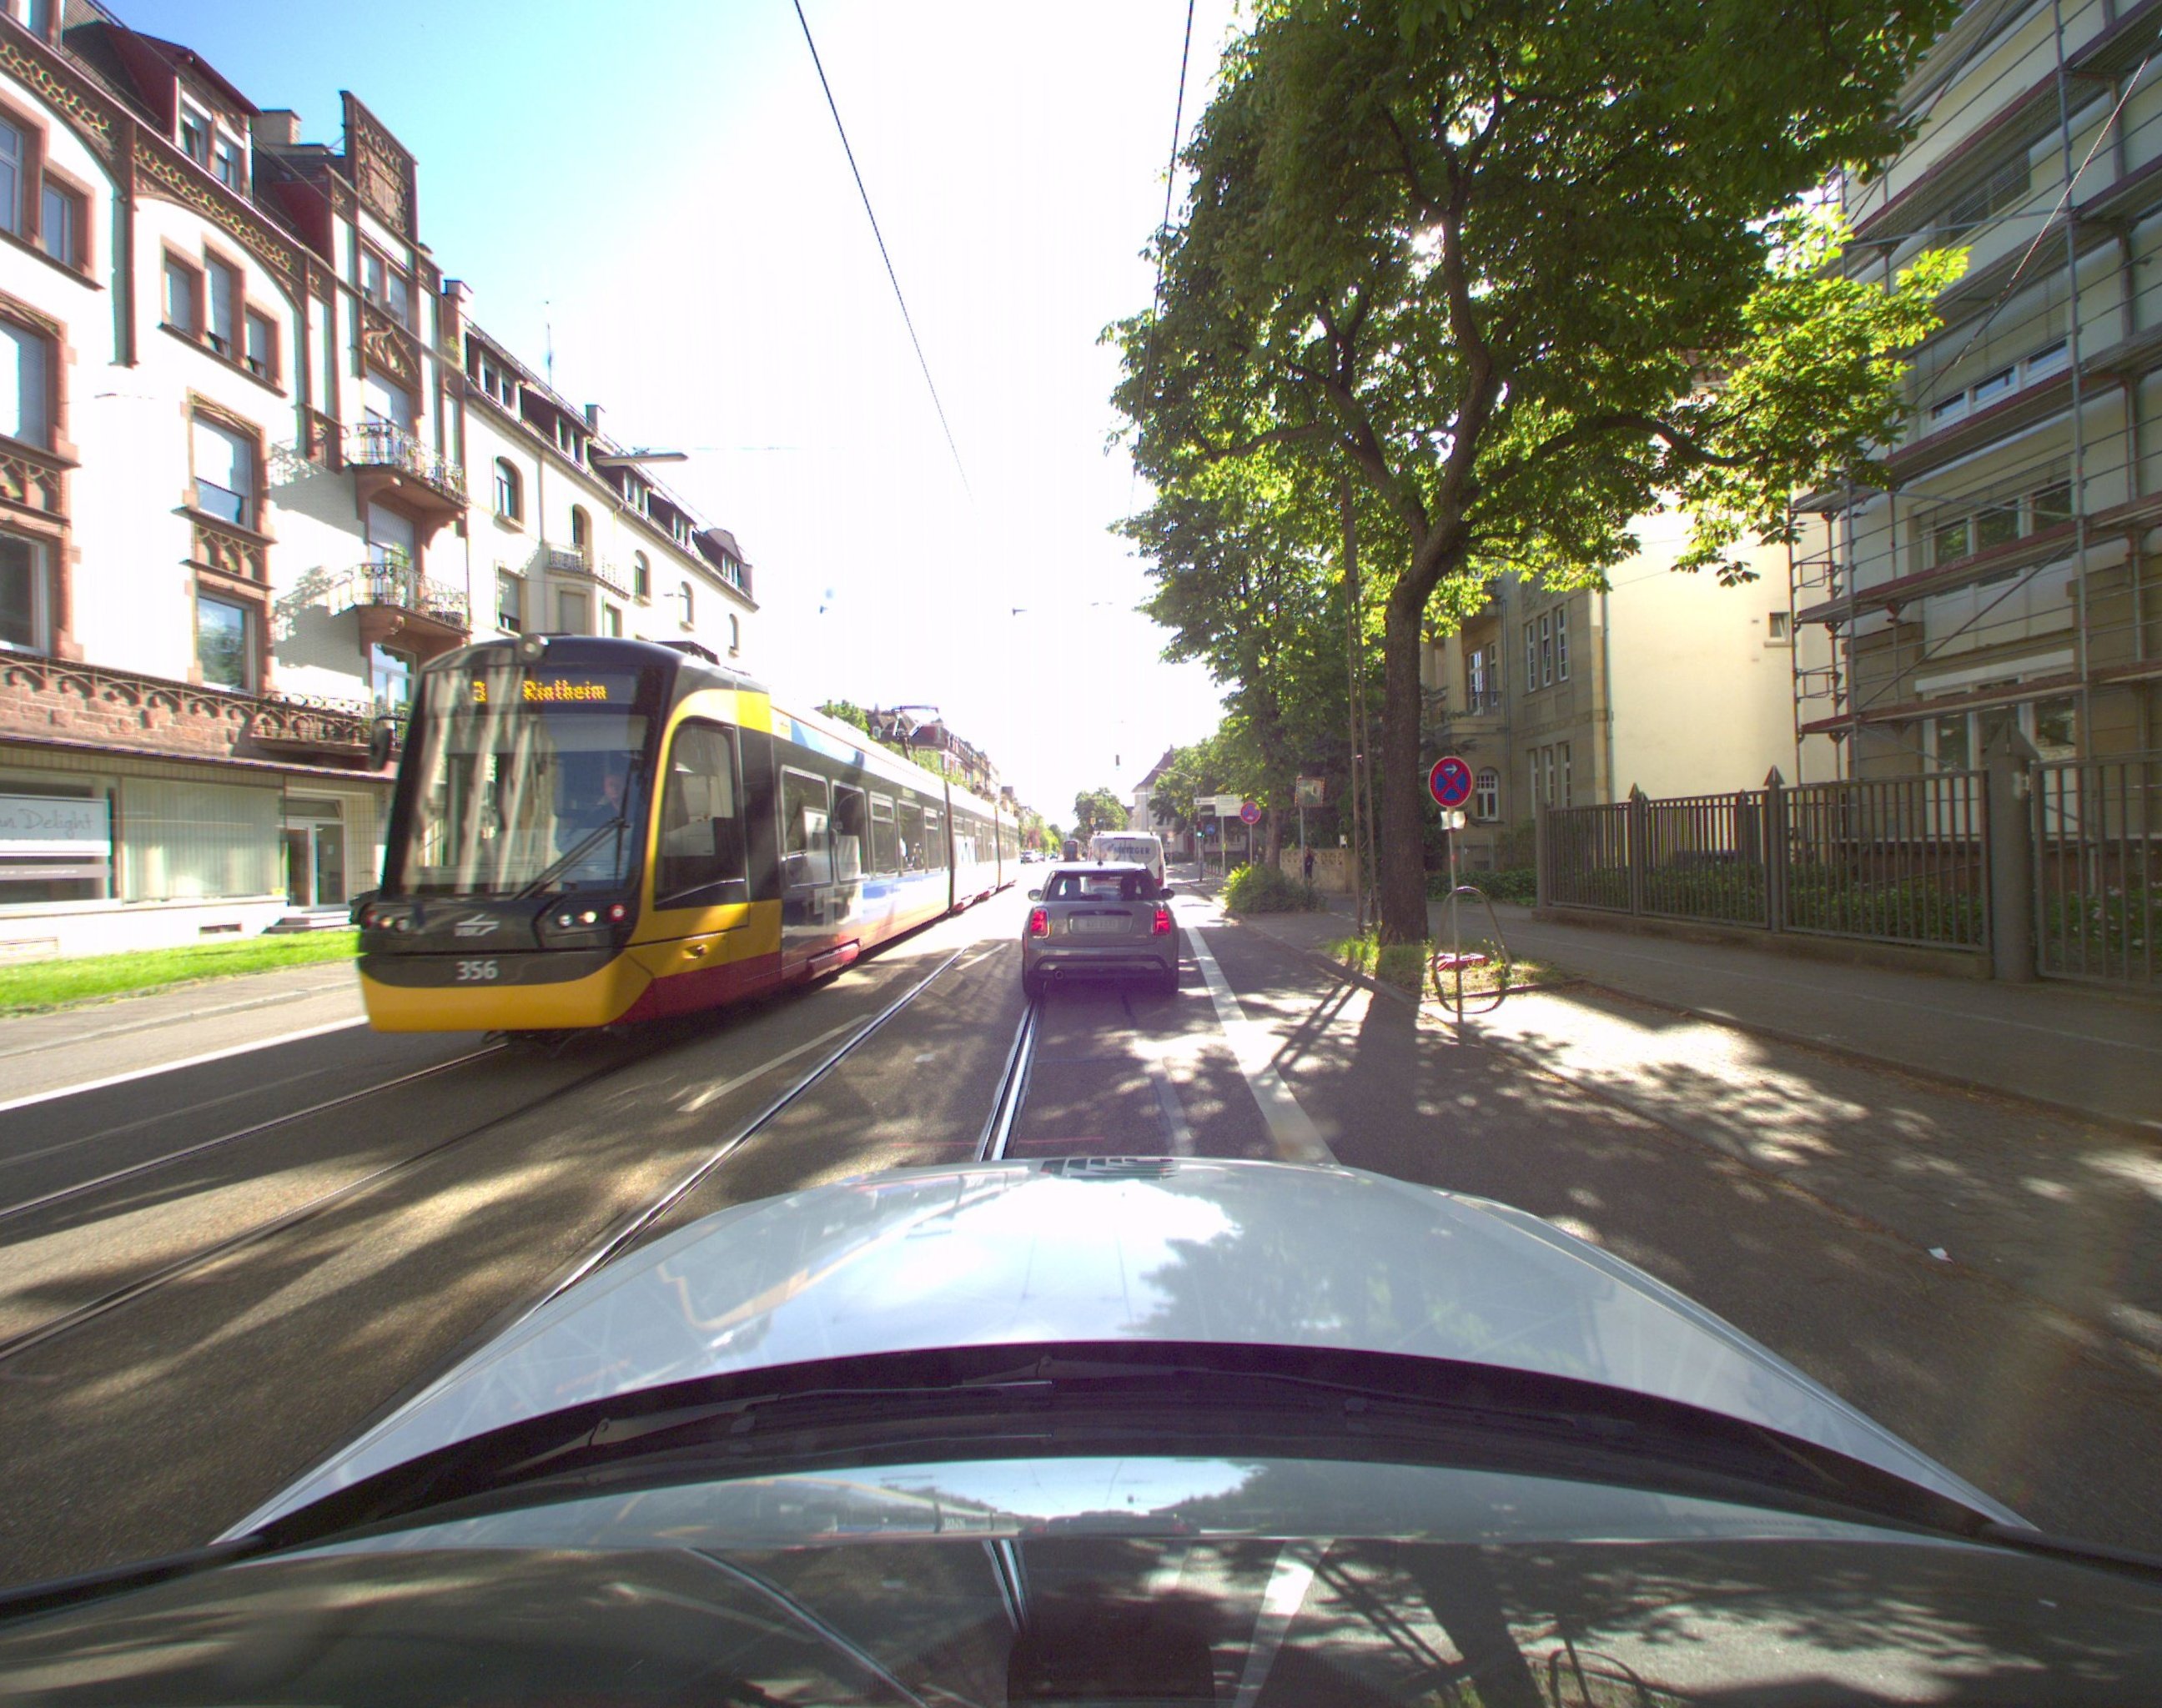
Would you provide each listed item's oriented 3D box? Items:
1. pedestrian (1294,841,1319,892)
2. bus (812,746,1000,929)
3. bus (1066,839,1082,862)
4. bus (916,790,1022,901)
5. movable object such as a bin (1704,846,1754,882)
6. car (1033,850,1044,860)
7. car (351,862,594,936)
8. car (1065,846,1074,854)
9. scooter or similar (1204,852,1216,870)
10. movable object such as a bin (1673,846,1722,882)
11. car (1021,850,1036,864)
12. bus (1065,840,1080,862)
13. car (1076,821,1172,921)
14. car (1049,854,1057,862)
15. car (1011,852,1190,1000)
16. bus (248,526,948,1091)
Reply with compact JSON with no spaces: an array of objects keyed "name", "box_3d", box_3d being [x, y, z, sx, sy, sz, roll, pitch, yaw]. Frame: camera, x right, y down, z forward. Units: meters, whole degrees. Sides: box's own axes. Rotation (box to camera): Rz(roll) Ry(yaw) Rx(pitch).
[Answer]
[{"name":"pedestrian","box_3d":[7.571,0.411,27.354,0.590,1.671,0.647,-3,-1,1]},{"name":"bus","box_3d":[-4.182,-0.308,22.465,2.851,3.777,11.179,0,-1,-1]},{"name":"bus","box_3d":[-1.154,-0.481,129.378,2.379,3.496,7.377,0,-1,-2]},{"name":"bus","box_3d":[-4.298,-0.243,34.112,2.841,3.777,12.193,0,0,0]},{"name":"movable object such as a bin","box_3d":[17.542,0.271,22.047,0.831,0.955,0.648,0,-1,0]},{"name":"car","box_3d":[-7.063,0.120,135.083,1.771,1.618,3.997,0,-1,-2]},{"name":"car","box_3d":[-13.588,0.991,18.394,3.981,1.503,1.768,1,-1,-6]},{"name":"car","box_3d":[-2.323,-0.725,162.146,1.859,1.563,3.997,0,-1,-2]},{"name":"scooter or similar","box_3d":[9.317,0.497,58.760,0.673,1.310,1.329,0,-1,1]},{"name":"movable object such as a bin","box_3d":[16.677,0.277,22.036,0.831,0.955,0.648,0,-1,0]},{"name":"car","box_3d":[-7.679,0.430,119.756,1.987,2.014,5.028,0,-1,0]},{"name":"bus","box_3d":[-1.433,-0.438,136.785,2.379,3.496,7.377,0,-1,-2]},{"name":"car","box_3d":[1.041,0.398,20.615,2.110,2.208,4.946,0,-1,2]},{"name":"car","box_3d":[-6.120,0.911,176.876,1.771,1.618,3.997,0,-1,-2]},{"name":"car","box_3d":[0.264,0.745,10.269,1.808,1.488,4.001,0,-1,2]},{"name":"bus","box_3d":[-4.166,-0.275,11.219,2.851,3.777,11.494,0,0,-1]}]
